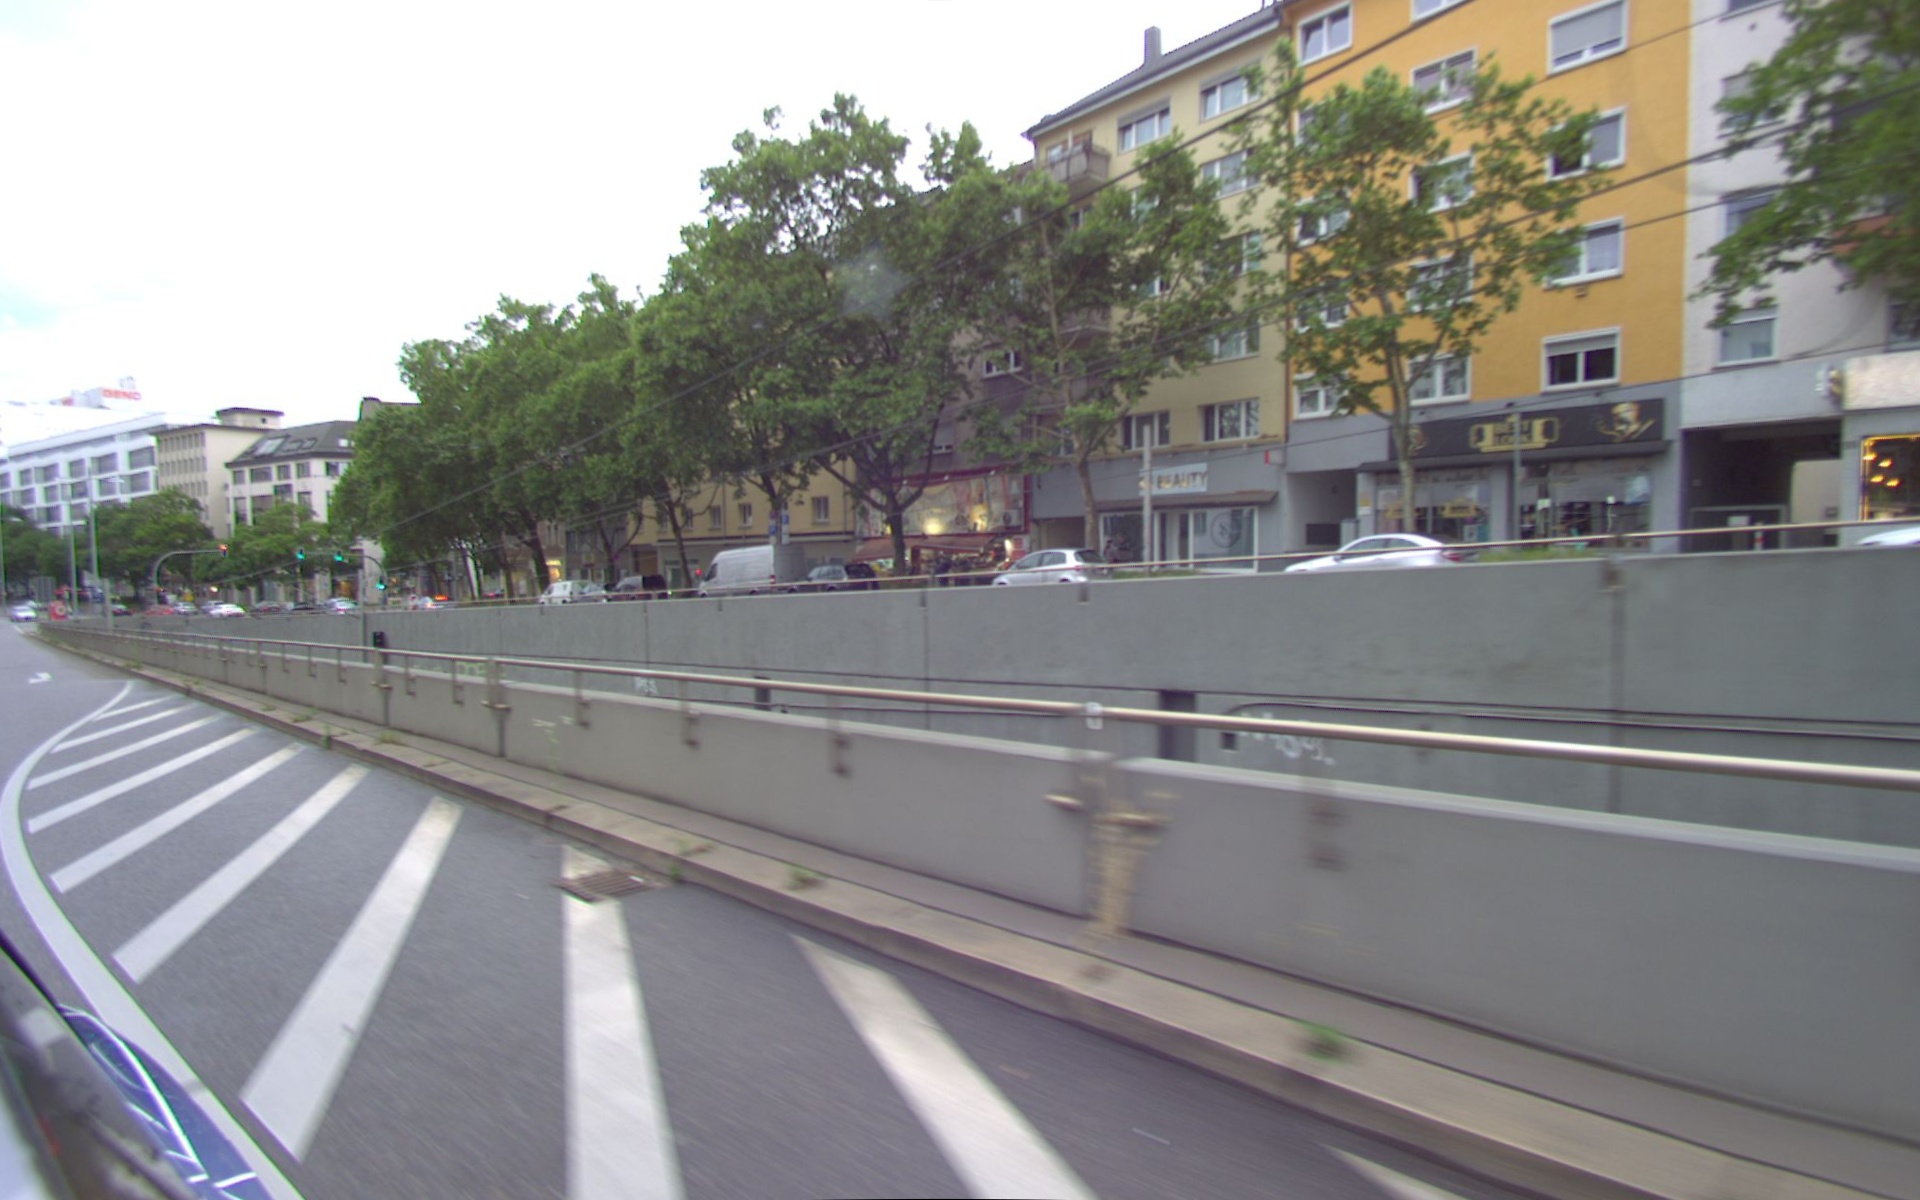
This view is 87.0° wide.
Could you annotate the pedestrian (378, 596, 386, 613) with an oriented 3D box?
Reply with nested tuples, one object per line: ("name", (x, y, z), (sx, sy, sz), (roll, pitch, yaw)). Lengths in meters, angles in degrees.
("pedestrian", (-64.109, 0.455, 112.204), (0.581, 1.822, 0.675), (-5, 3, -38))

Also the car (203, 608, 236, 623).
("car", (-84.696, 1.759, 115.762), (3.932, 1.521, 1.780), (-2, 3, 34))

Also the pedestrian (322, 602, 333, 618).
("pedestrian", (-72.934, 1.177, 116.699), (0.615, 1.797, 0.825), (-1, 3, 38))

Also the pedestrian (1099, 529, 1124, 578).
("pedestrian", (5.693, -1.739, 37.980), (0.516, 1.760, 0.623), (-7, 4, -35))

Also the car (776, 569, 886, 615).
("car", (-5.048, -0.299, 39.123), (1.773, 1.521, 4.677), (-5, 2, -42))

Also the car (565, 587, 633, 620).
("car", (-20.117, 0.210, 56.291), (1.855, 1.595, 4.476), (-5, 2, -44))

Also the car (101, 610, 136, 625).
("car", (-96.584, 1.995, 116.188), (4.823, 1.569, 1.780), (-1, 2, 34))

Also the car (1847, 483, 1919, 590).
("car", (16.530, -1.091, 14.760), (1.904, 1.613, 5.204), (-5, 2, -43))

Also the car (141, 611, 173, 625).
("car", (-85.825, 1.928, 108.163), (3.870, 1.411, 1.572), (-1, 2, 34))

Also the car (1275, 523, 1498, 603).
("car", (9.493, -0.795, 22.779), (1.773, 1.521, 4.213), (-5, 2, -42))

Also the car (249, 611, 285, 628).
("car", (-69.692, 1.997, 101.786), (3.995, 1.521, 1.777), (-1, 3, 39))

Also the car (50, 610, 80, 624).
("car", (-113.704, 2.127, 128.558), (3.986, 1.573, 1.781), (-1, 2, 32))

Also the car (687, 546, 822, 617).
("car", (-9.068, -0.751, 44.088), (2.424, 2.682, 6.939), (-5, 2, -42))

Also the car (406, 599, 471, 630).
("car", (-29.397, 0.816, 56.966), (2.002, 1.521, 4.889), (-5, 2, -42))

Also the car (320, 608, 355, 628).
("car", (-55.017, 1.610, 89.422), (1.773, 1.591, 4.021), (-5, 2, -42))

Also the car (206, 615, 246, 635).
("car", (-71.131, 2.441, 98.042), (4.724, 1.783, 1.778), (-1, 2, 38))

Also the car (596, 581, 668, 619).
("car", (-17.056, 0.016, 52.573), (1.774, 1.742, 4.208), (-5, 2, -45))

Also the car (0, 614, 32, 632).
("car", (-103.413, 2.538, 110.688), (3.989, 1.756, 1.780), (-2, 3, 34))

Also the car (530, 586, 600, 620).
("car", (-23.601, 0.218, 60.388), (4.901, 1.777, 1.857), (-2, 2, 44))

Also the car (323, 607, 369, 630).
("car", (-46.273, 1.422, 76.208), (1.826, 1.521, 4.824), (-5, 2, -44))

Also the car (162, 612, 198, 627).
("car", (-87.374, 2.147, 113.357), (3.986, 1.521, 1.781), (-1, 2, 32))

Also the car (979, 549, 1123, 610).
("car", (2.711, -0.596, 30.777), (1.773, 1.582, 4.213), (-5, 2, -42))

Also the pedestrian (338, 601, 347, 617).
("pedestrian", (-70.330, 1.071, 115.296), (0.525, 1.797, 0.597), (-1, 3, 38))

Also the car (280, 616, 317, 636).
("car", (-56.081, 2.188, 85.777), (1.774, 1.521, 4.347), (-4, 3, -44))
